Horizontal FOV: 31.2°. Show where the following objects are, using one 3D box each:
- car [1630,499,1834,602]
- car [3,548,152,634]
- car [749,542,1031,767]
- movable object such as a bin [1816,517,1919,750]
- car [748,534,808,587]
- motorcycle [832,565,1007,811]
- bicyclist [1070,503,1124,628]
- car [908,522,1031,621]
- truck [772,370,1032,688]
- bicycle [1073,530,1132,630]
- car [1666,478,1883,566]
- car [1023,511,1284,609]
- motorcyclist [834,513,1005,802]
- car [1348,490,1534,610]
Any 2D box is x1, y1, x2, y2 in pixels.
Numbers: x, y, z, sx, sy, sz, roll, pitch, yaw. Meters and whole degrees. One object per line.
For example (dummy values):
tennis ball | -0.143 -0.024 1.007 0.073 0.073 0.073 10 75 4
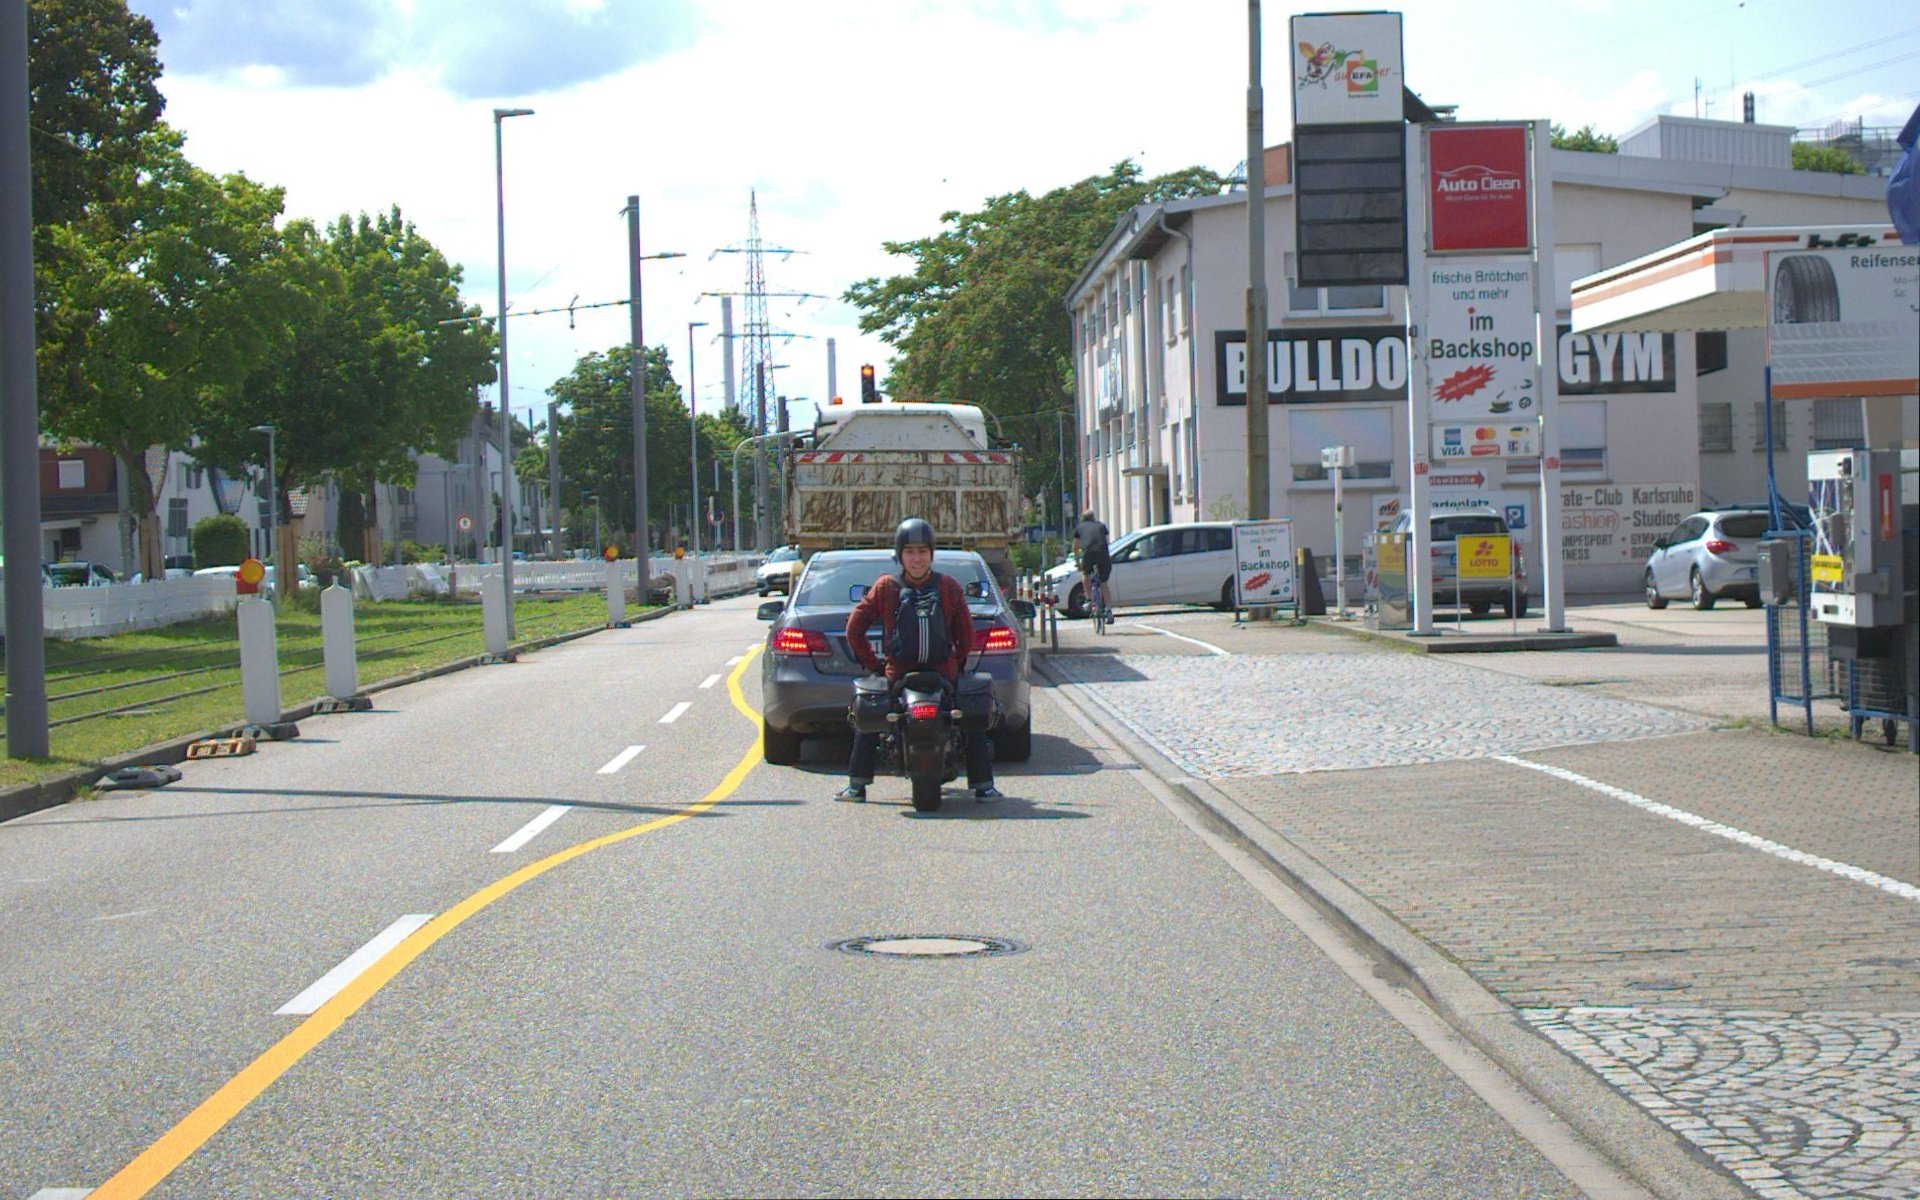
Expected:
car | 11.630 -0.740 52.061 1.959 1.415 4.000 -2 1 -3
car | -17.876 -0.202 69.794 1.993 1.601 4.000 -2 1 -1
car | -0.488 0.323 24.467 1.821 1.419 4.000 -1 1 -1
movable object such as a bin | 6.227 0.189 21.946 1.256 1.439 0.824 -2 0 0
car | -5.340 -1.191 101.136 1.654 1.442 4.304 -2 1 -3
motorcycle | -0.242 0.464 19.996 0.939 1.316 2.645 0 1 -1
bicyclist | 1.935 -0.499 48.783 0.671 1.738 0.814 -2 1 -1
car | 0.125 -0.469 53.663 1.821 1.459 4.000 -1 1 0
truck | -0.633 -0.926 40.785 2.610 3.244 9.183 -2 2 0
bicycle | 2.023 -0.301 49.031 0.693 1.357 2.419 -2 1 0
car | 16.965 -1.622 71.743 3.987 1.643 1.966 -2 1 -1
car | 3.465 -0.719 61.969 4.329 1.546 1.950 -2 1 -9
motorcyclist | -0.235 0.314 19.813 0.939 1.609 1.205 0 1 -1
car | 7.126 -0.741 51.309 1.959 1.643 4.000 -2 1 -3
